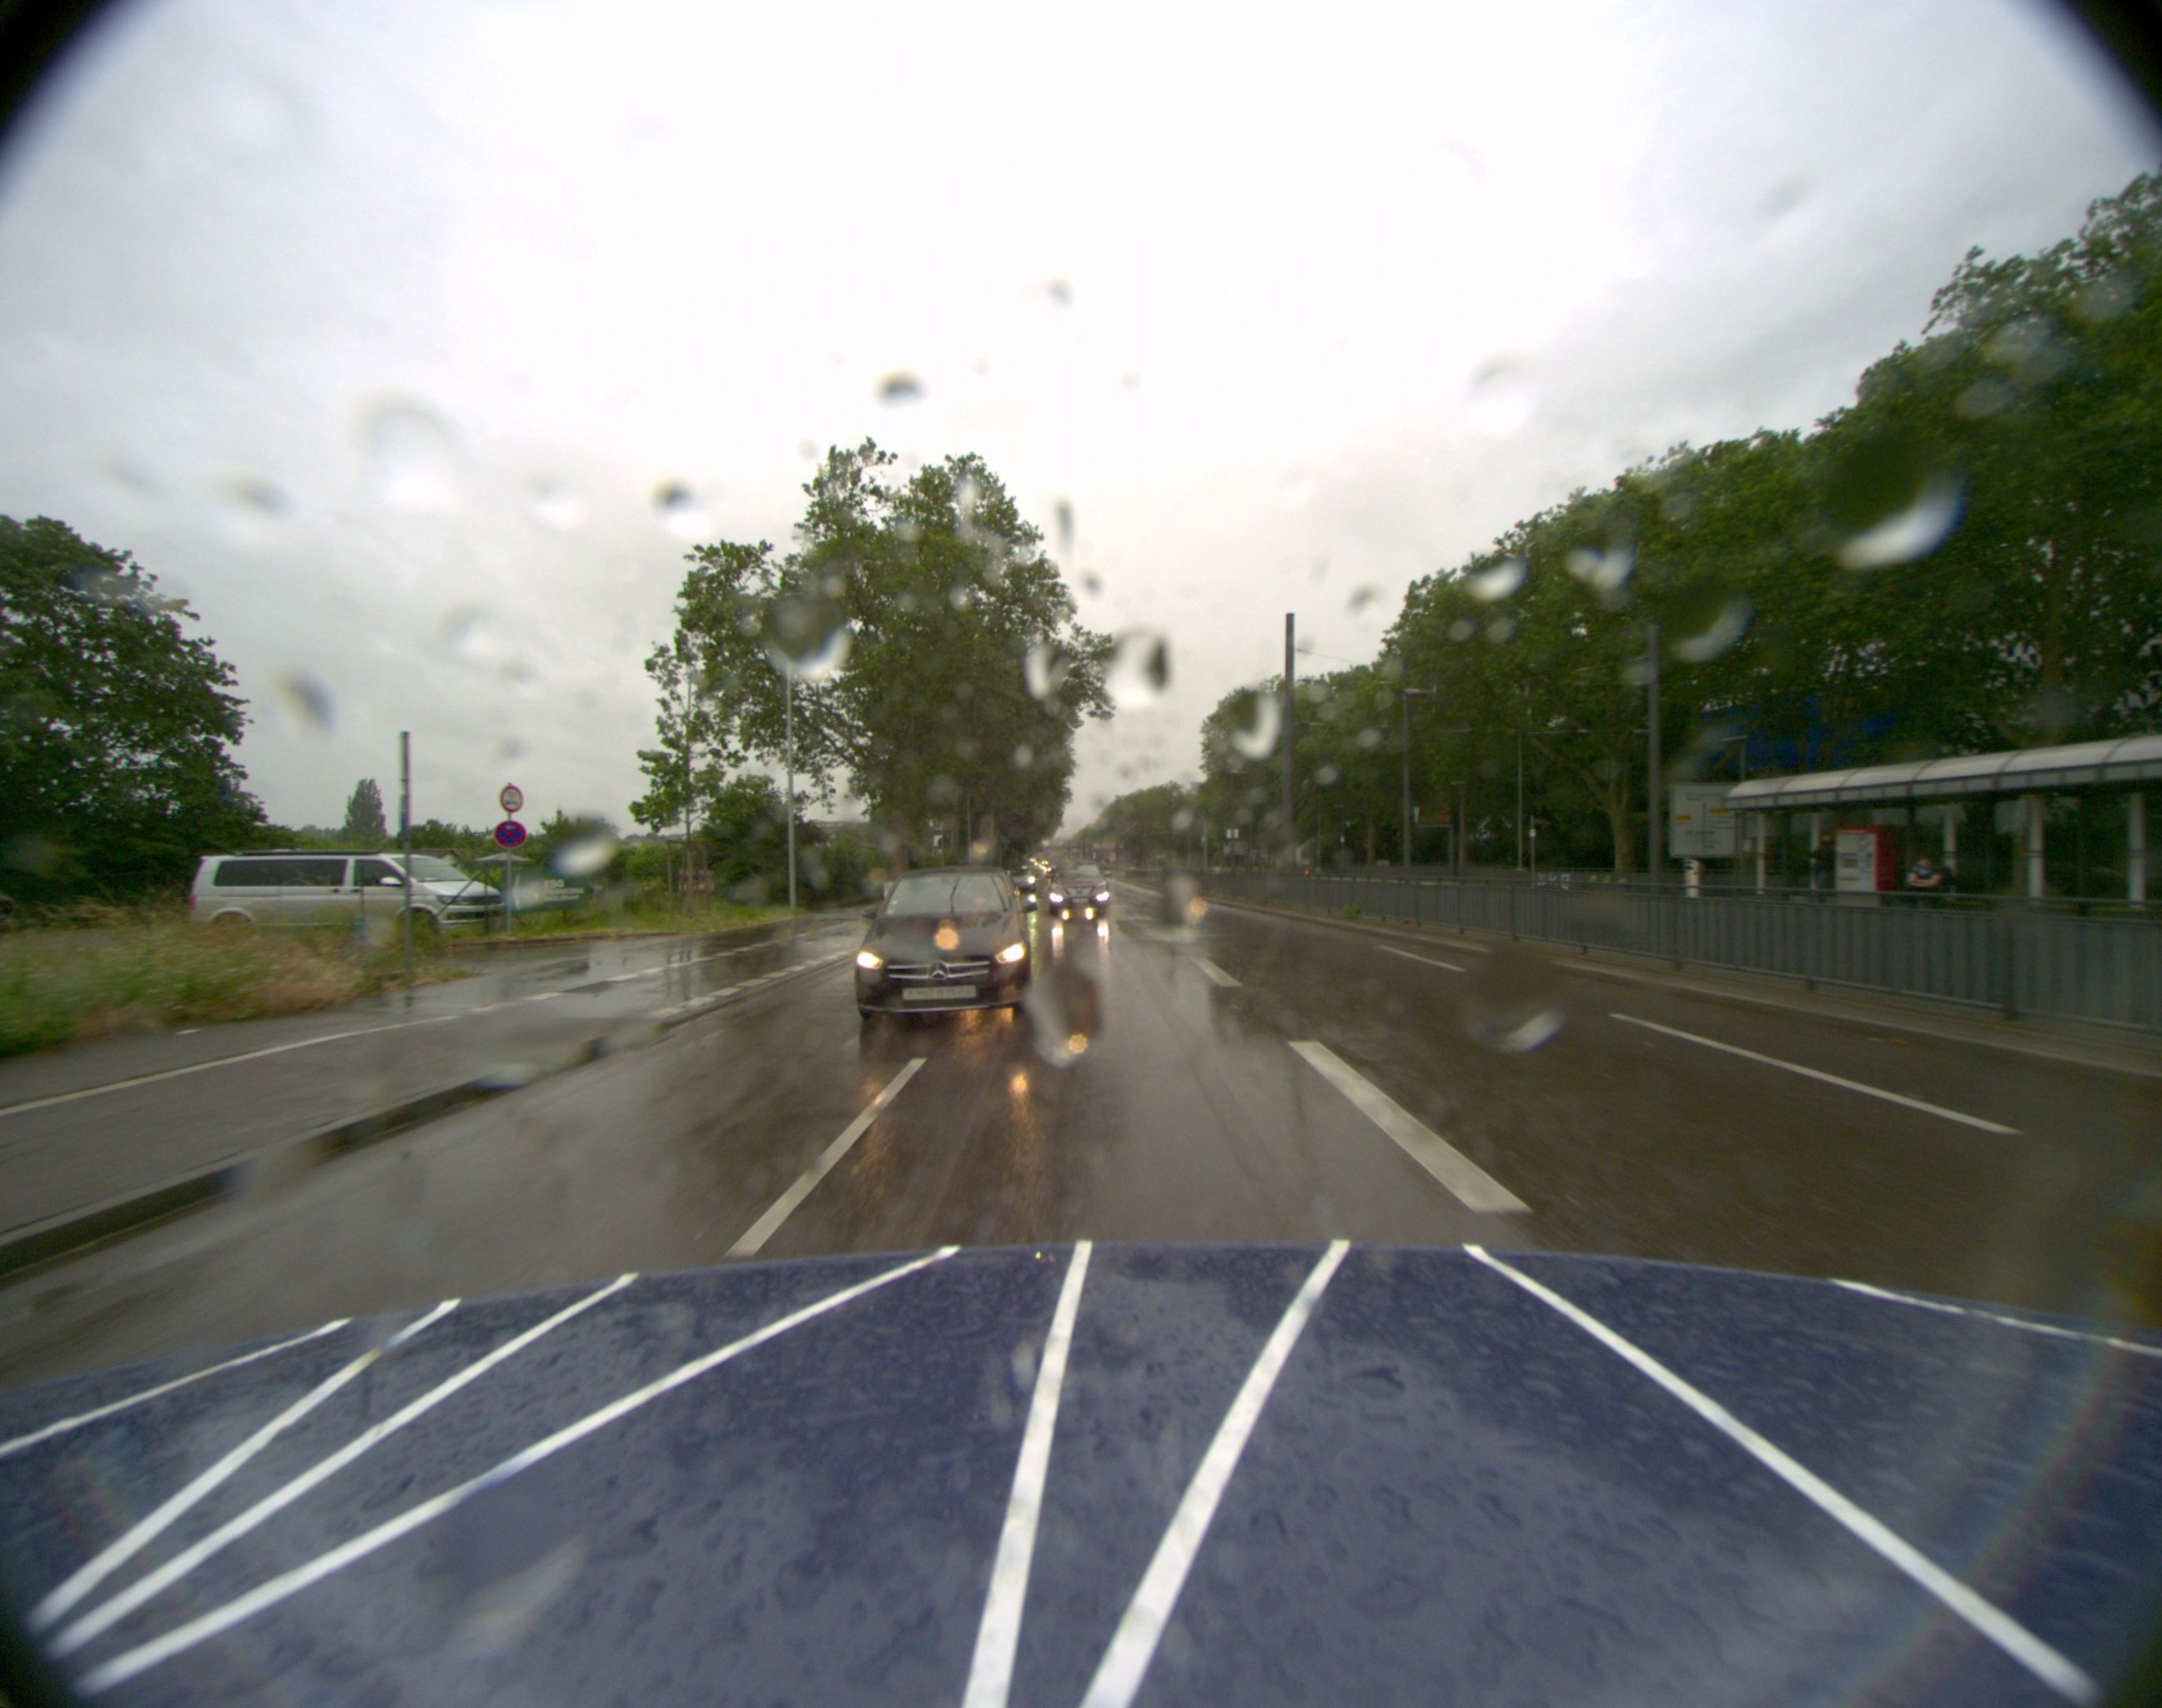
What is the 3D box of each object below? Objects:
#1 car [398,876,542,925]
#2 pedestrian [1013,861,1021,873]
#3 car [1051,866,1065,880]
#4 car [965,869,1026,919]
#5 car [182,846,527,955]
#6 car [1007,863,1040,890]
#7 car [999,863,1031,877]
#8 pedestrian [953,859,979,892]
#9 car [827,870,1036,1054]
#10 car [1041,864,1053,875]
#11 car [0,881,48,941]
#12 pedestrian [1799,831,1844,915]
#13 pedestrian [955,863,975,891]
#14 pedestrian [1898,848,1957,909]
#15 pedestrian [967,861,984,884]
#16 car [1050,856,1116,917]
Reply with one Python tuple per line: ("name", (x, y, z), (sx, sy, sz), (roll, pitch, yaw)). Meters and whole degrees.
("car", (-22.275, 1.685, 27.929), (1.998, 1.607, 4.003), (-2, -3, 2))
("pedestrian", (-8.746, 1.770, 104.180), (0.969, 1.692, 1.140), (-2, 0, -2))
("car", (-3.714, 3.096, 125.037), (1.998, 2.002, 4.000), (-2, 0, 1))
("car", (-2.763, 1.274, 25.303), (1.642, 1.377, 3.781), (-2, 0, -1))
("car", (-15.513, 0.941, 16.517), (5.265, 2.002, 1.999), (-2, 0, -5))
("car", (-3.408, 1.324, 45.483), (1.822, 1.520, 4.157), (-1, -1, -3))
("car", (-7.472, 1.807, 85.772), (3.389, 1.488, 1.659), (-1, -1, 1))
("pedestrian", (-6.362, 1.187, 42.032), (1.243, 1.775, 1.147), (1, 0, -1))
("car", (-1.534, 1.027, 9.152), (1.822, 1.521, 4.420), (-2, 0, -5))
("car", (-6.892, 3.121, 153.417), (1.998, 2.002, 4.000), (-2, 0, 1))
("car", (-31.682, 1.656, 20.750), (3.998, 1.608, 1.999), (-2, 0, -3))
("pedestrian", (18.076, 0.455, 18.557), (0.494, 2.002, 0.582), (-2, 1, -1))
("pedestrian", (-6.775, 1.337, 44.414), (0.949, 1.580, 1.293), (0, 0, -1))
("pedestrian", (18.105, 0.511, 16.257), (0.494, 1.260, 0.664), (-2, 0, 2))
("pedestrian", (-6.556, 1.130, 47.162), (0.894, 1.382, 1.016), (1, 0, -1))
("car", (0.028, 1.011, 25.036), (1.975, 1.793, 4.158), (-1, -1, -1))
